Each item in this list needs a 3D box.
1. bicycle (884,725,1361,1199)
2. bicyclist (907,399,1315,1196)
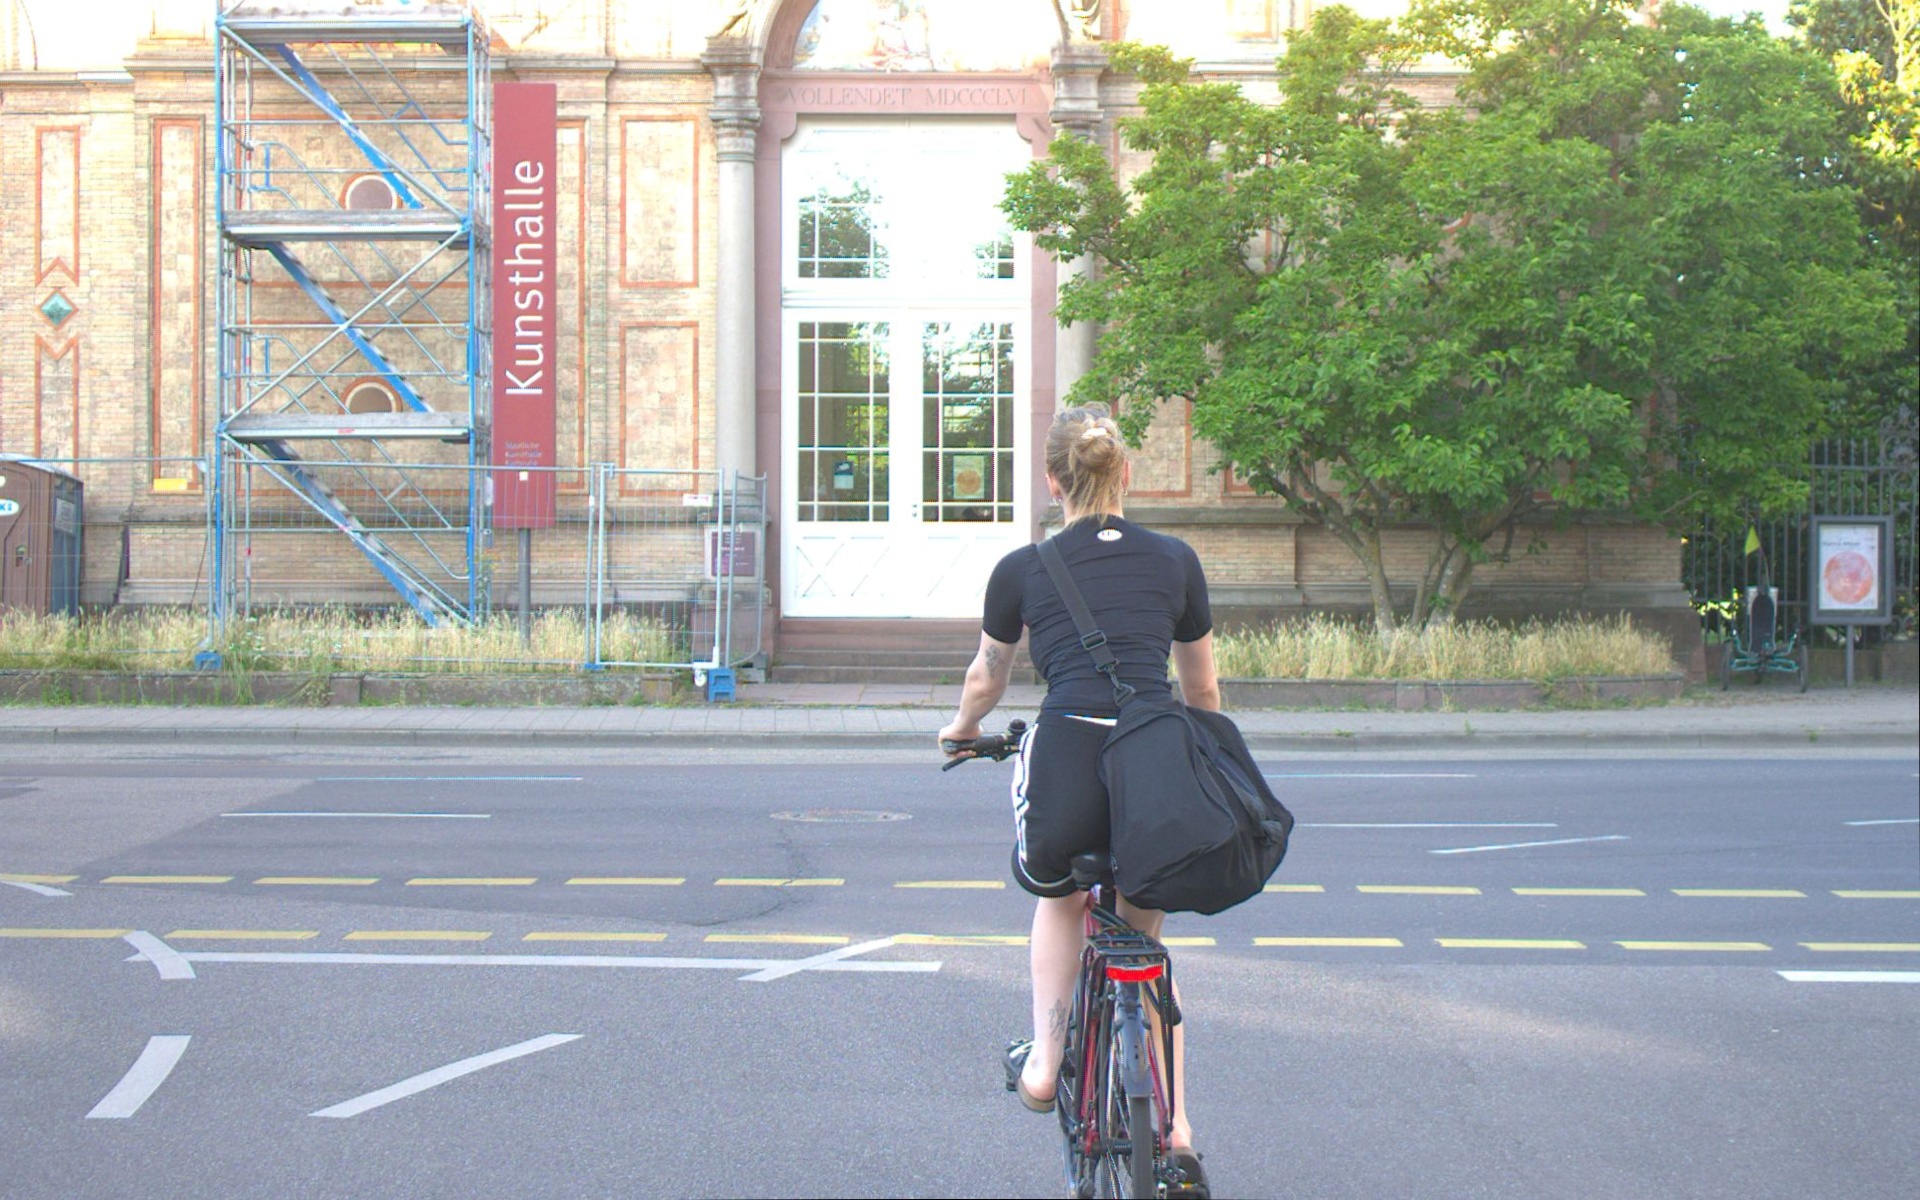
[{"bbox_3d":[0.266,0.858,7.075,0.711,1.152,2.069,0,-1,-5],"label":"bicycle"},{"bbox_3d":[0.281,0.378,6.921,0.716,1.497,0.851,0,-1,-5],"label":"bicyclist"}]
